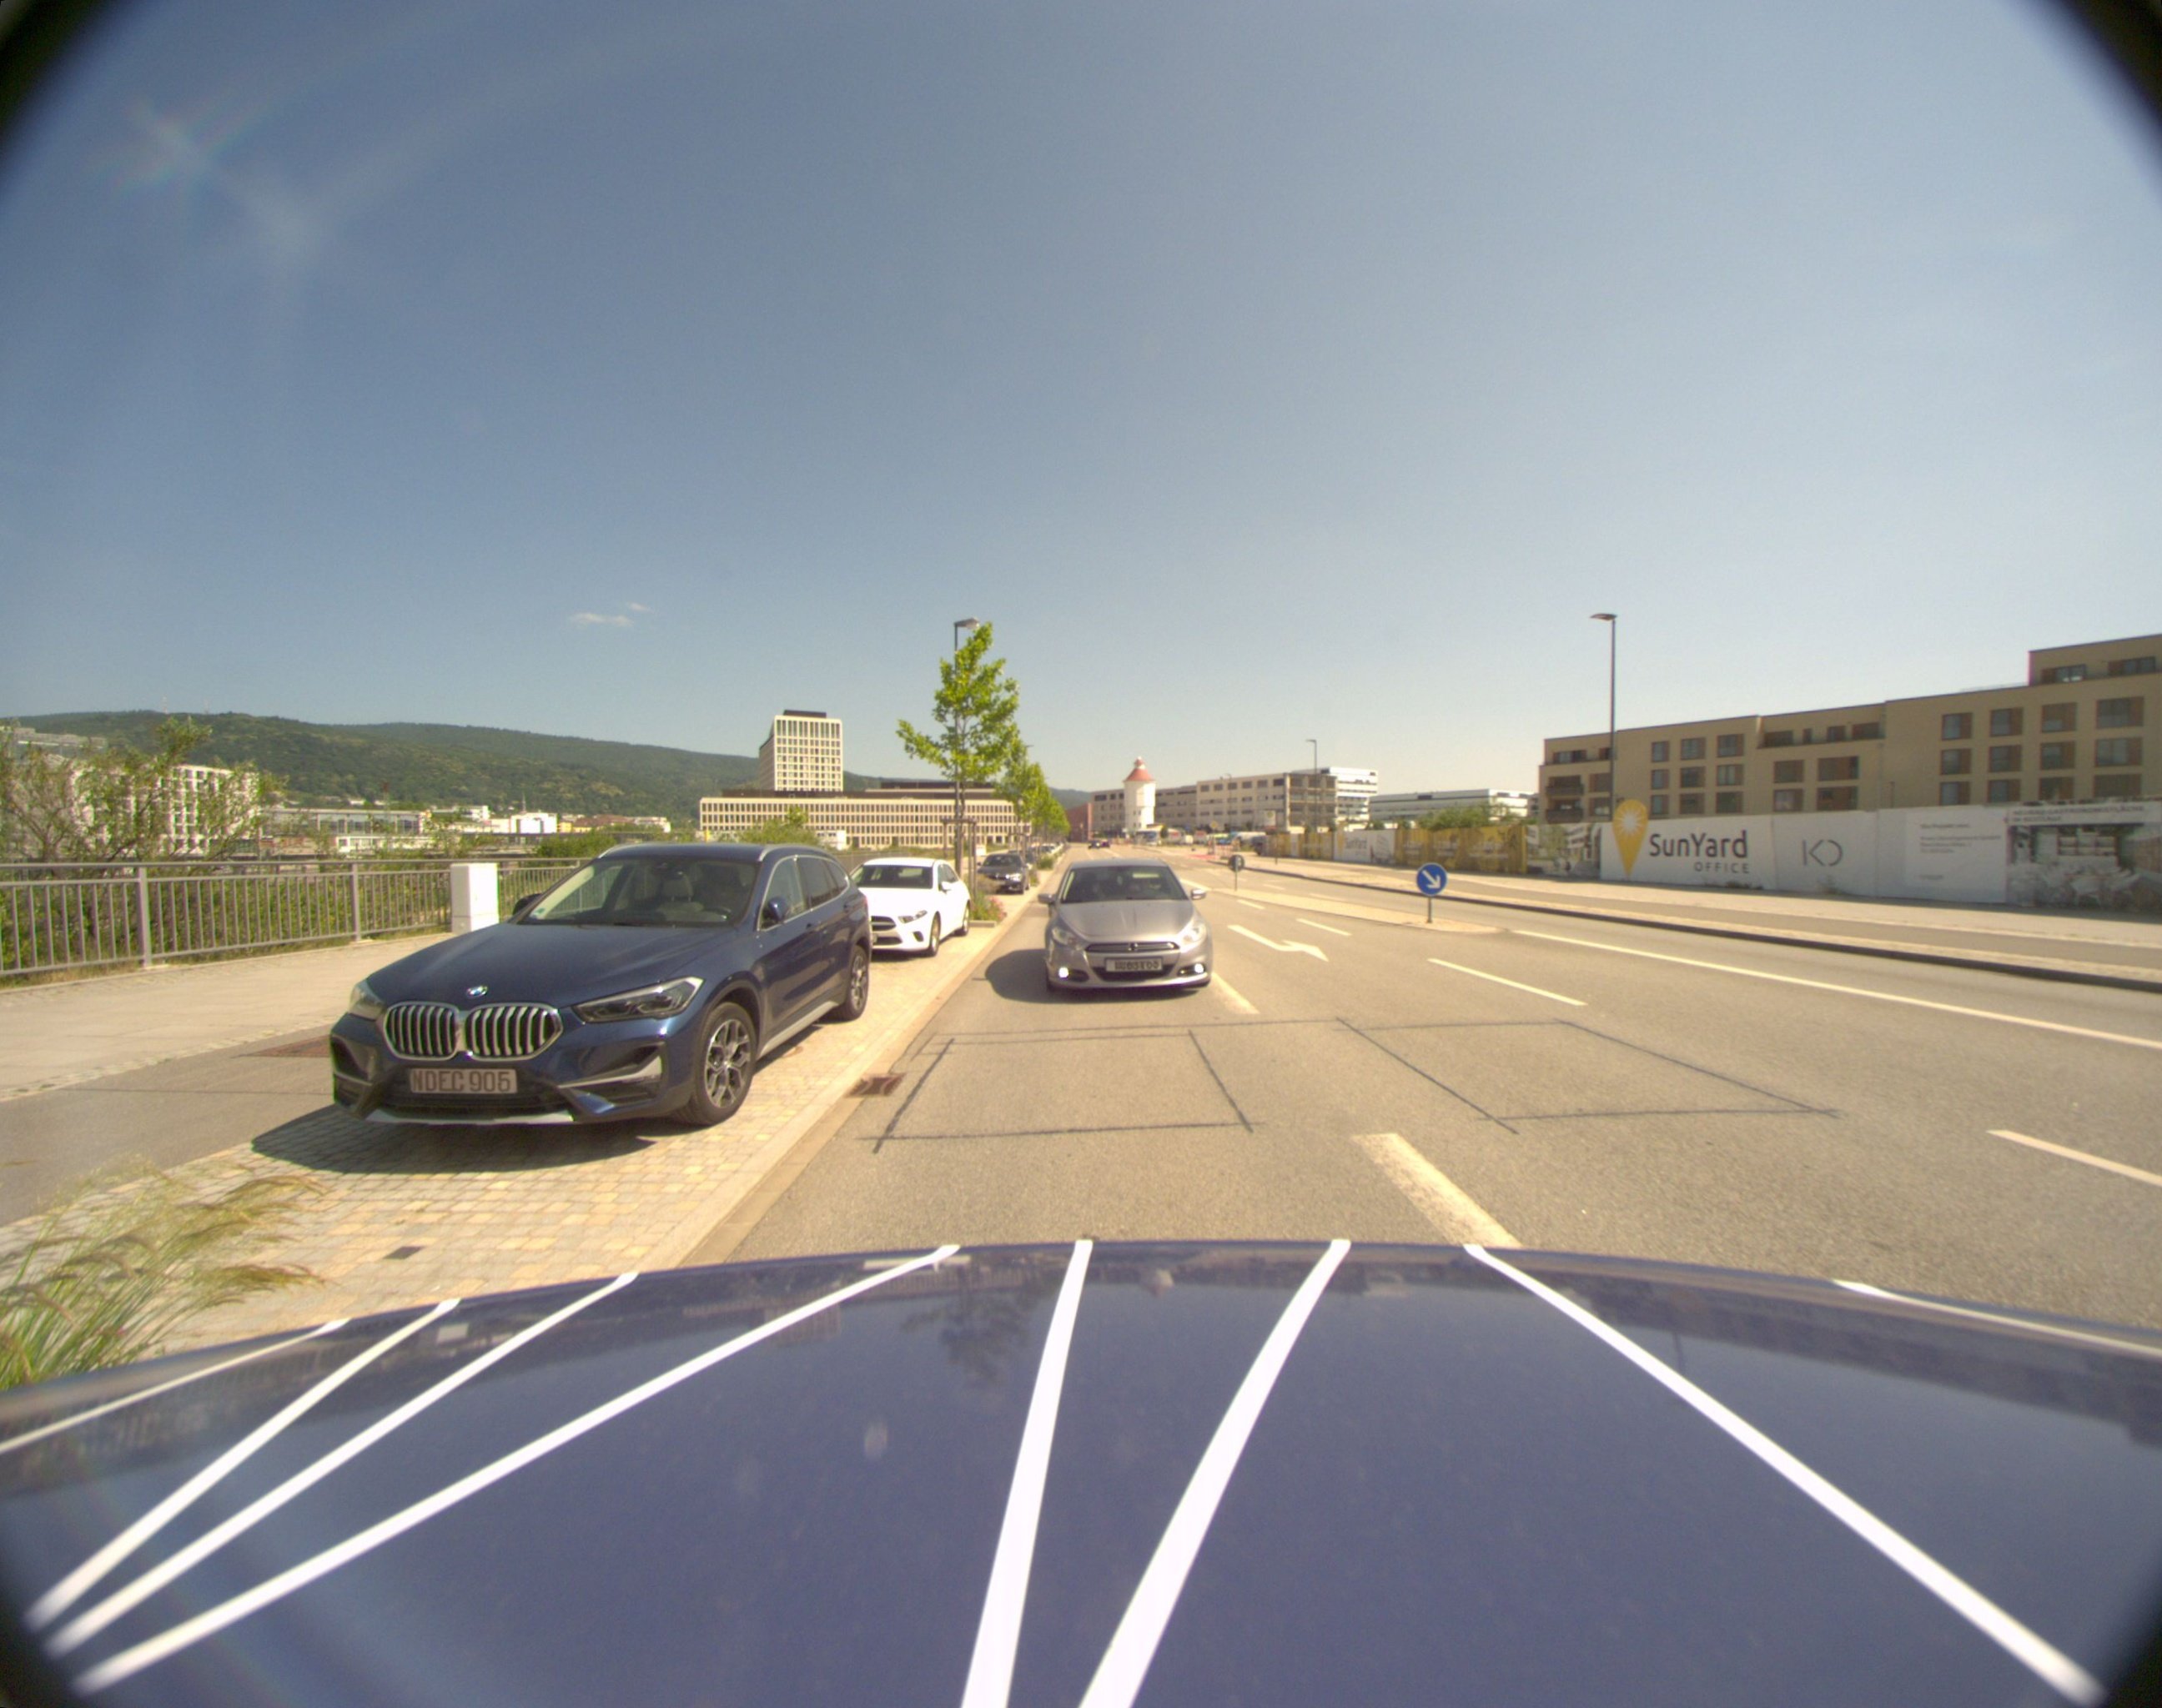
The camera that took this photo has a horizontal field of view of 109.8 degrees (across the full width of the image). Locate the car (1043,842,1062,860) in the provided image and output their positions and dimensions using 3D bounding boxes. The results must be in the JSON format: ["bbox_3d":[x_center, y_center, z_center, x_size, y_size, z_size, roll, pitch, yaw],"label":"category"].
[{"bbox_3d":[-2.625,-0.285,70.623,1.526,1.482,3.504,-3,1,0],"label":"car"}]

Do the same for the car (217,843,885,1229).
[{"bbox_3d":[-2.889,0.781,5.493,1.808,1.674,4.270,1,1,0],"label":"car"}]

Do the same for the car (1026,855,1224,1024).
[{"bbox_3d":[0.452,0.813,9.310,1.820,1.459,4.346,-2,1,1],"label":"car"}]

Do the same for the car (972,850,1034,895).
[{"bbox_3d":[-2.782,0.635,27.773,1.808,1.424,3.915,2,1,0],"label":"car"}]

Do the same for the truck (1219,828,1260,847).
[{"bbox_3d":[23.646,-2.455,113.349,5.633,2.461,1.999,-3,1,-4],"label":"truck"}]

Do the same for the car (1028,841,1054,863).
[{"bbox_3d":[-3.191,-0.184,61.132,1.768,1.609,3.373,-3,1,0],"label":"car"}]

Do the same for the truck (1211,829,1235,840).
[{"bbox_3d":[34.605,-4.674,185.337,5.412,2.461,1.999,-2,1,-2],"label":"truck"}]

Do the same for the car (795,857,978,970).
[{"bbox_3d":[-2.928,0.810,12.426,1.710,1.366,4.270,2,1,2],"label":"car"}]

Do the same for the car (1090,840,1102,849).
[{"bbox_3d":[2.577,-1.632,130.886,1.819,1.458,4.347,-3,1,2],"label":"car"}]

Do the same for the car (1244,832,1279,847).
[{"bbox_3d":[22.877,-1.865,96.503,3.930,1.708,1.891,-3,1,-5],"label":"car"}]

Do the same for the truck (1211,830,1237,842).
[{"bbox_3d":[33.312,-4.167,177.045,5.333,2.461,1.999,-3,1,-4],"label":"truck"}]

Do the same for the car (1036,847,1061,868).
[{"bbox_3d":[-2.173,0.226,50.720,1.490,1.302,3.154,2,1,0],"label":"car"}]

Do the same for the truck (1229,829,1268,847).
[{"bbox_3d":[23.313,-2.252,105.915,5.005,2.215,1.999,-2,1,-1],"label":"truck"}]

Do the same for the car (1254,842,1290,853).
[{"bbox_3d":[19.586,-0.698,77.988,3.359,0.947,1.293,-2,1,3],"label":"car"}]

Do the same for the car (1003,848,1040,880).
[{"bbox_3d":[-2.918,0.462,38.028,1.569,1.465,3.006,2,1,0],"label":"car"}]
